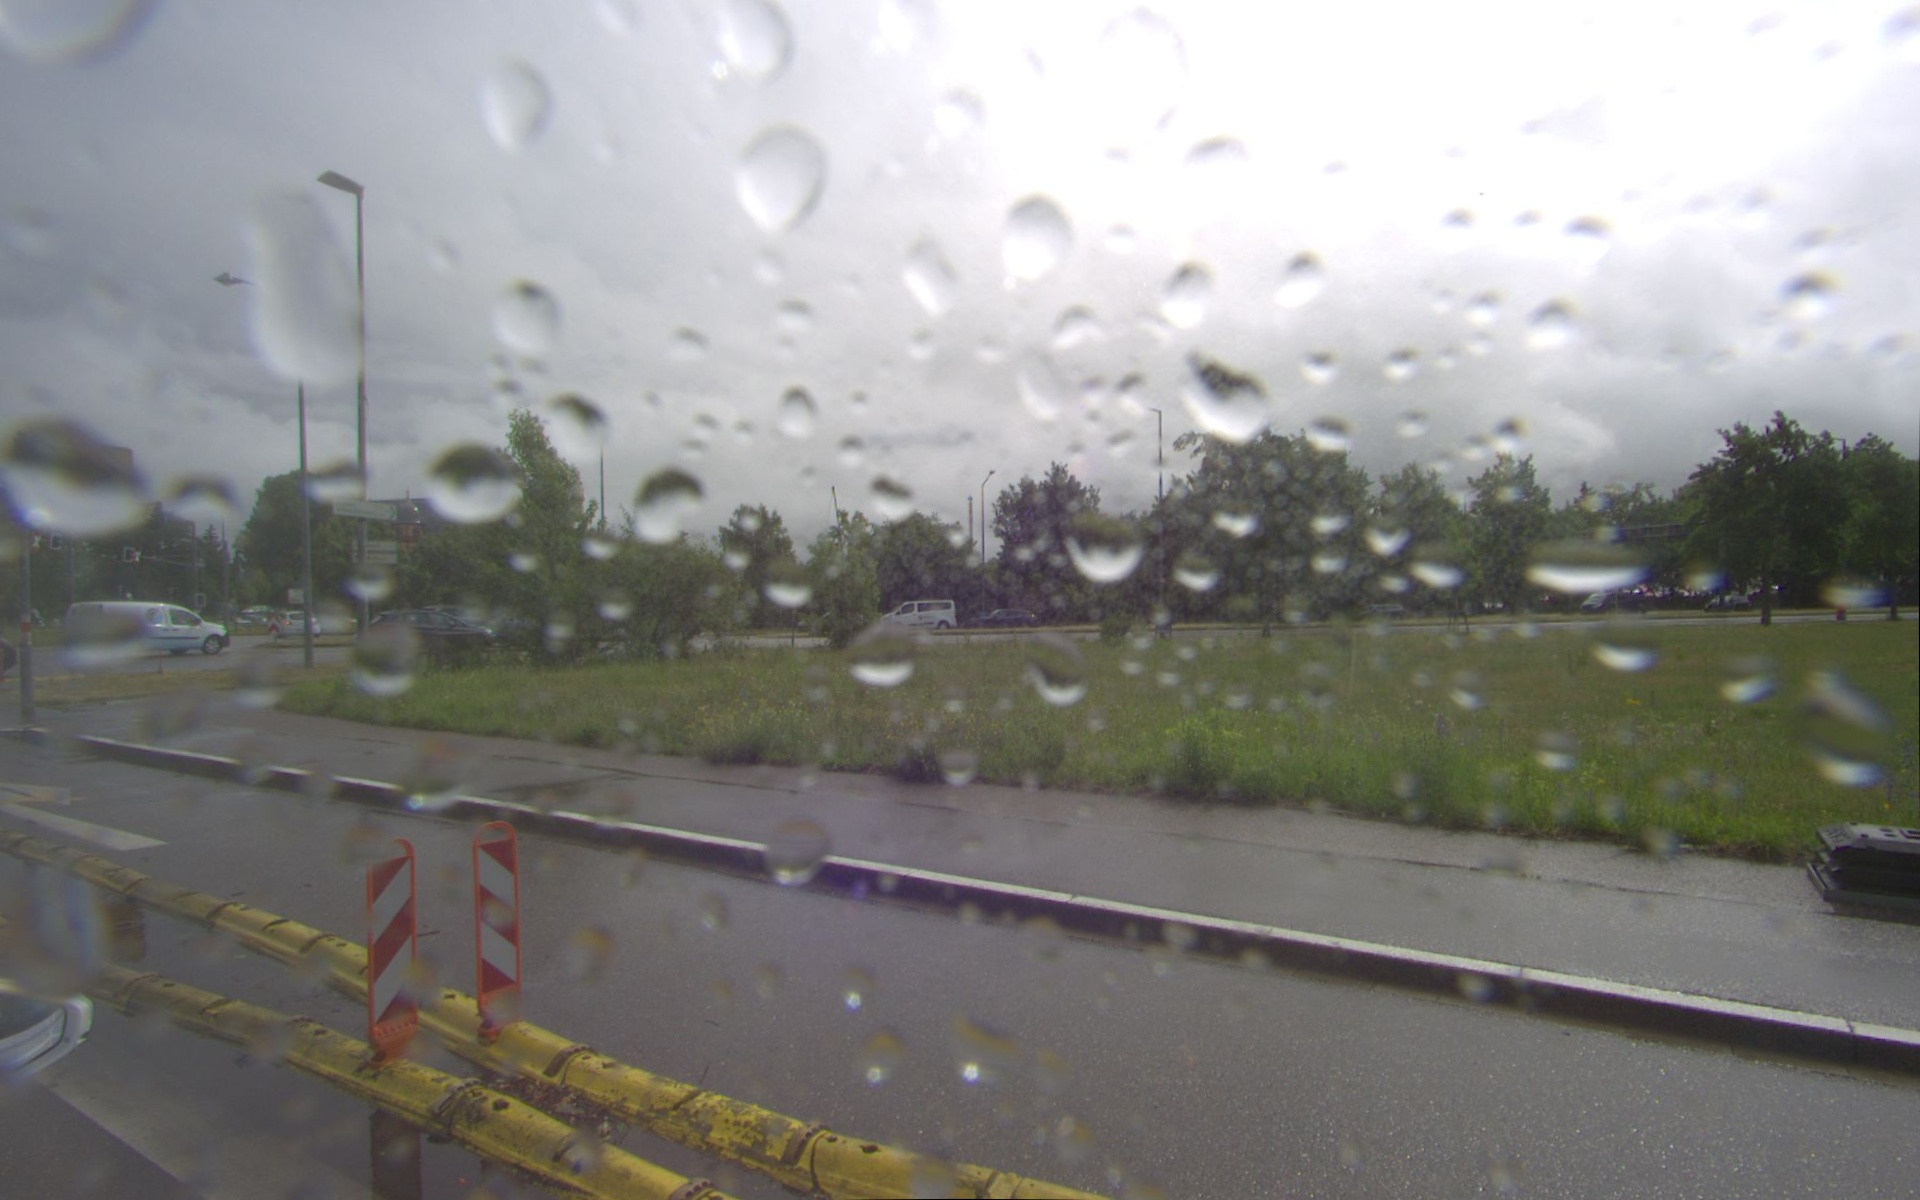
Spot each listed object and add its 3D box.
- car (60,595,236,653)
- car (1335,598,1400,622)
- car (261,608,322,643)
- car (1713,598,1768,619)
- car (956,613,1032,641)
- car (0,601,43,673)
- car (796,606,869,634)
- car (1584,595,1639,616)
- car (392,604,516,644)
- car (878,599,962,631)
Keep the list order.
[{"bbox_3d":[-27.469,0.790,34.072,1.836,1.833,4.398,0,0,15],"label":"car"},{"bbox_3d":[28.844,0.708,70.829,4.158,1.580,1.541,-1,0,-14],"label":"car"},{"bbox_3d":[-36.525,1.359,54.680,3.959,1.854,1.981,-1,0,44],"label":"car"},{"bbox_3d":[59.616,0.649,76.493,3.459,1.580,1.541,-1,0,-14],"label":"car"},{"bbox_3d":[2.058,1.609,60.804,4.226,1.581,1.911,-1,0,-14],"label":"car"},{"bbox_3d":[-24.759,0.904,23.513,1.966,1.748,4.345,0,0,22],"label":"car"},{"bbox_3d":[-7.423,1.158,58.292,4.039,1.581,1.912,-1,0,-14],"label":"car"},{"bbox_3d":[49.657,0.395,76.308,3.459,1.579,1.541,0,0,-14],"label":"car"},{"bbox_3d":[-20.679,0.956,40.984,4.348,1.568,1.857,0,0,-36],"label":"car"},{"bbox_3d":[-2.521,0.917,62.619,4.873,1.944,1.996,-1,0,-16],"label":"car"}]
